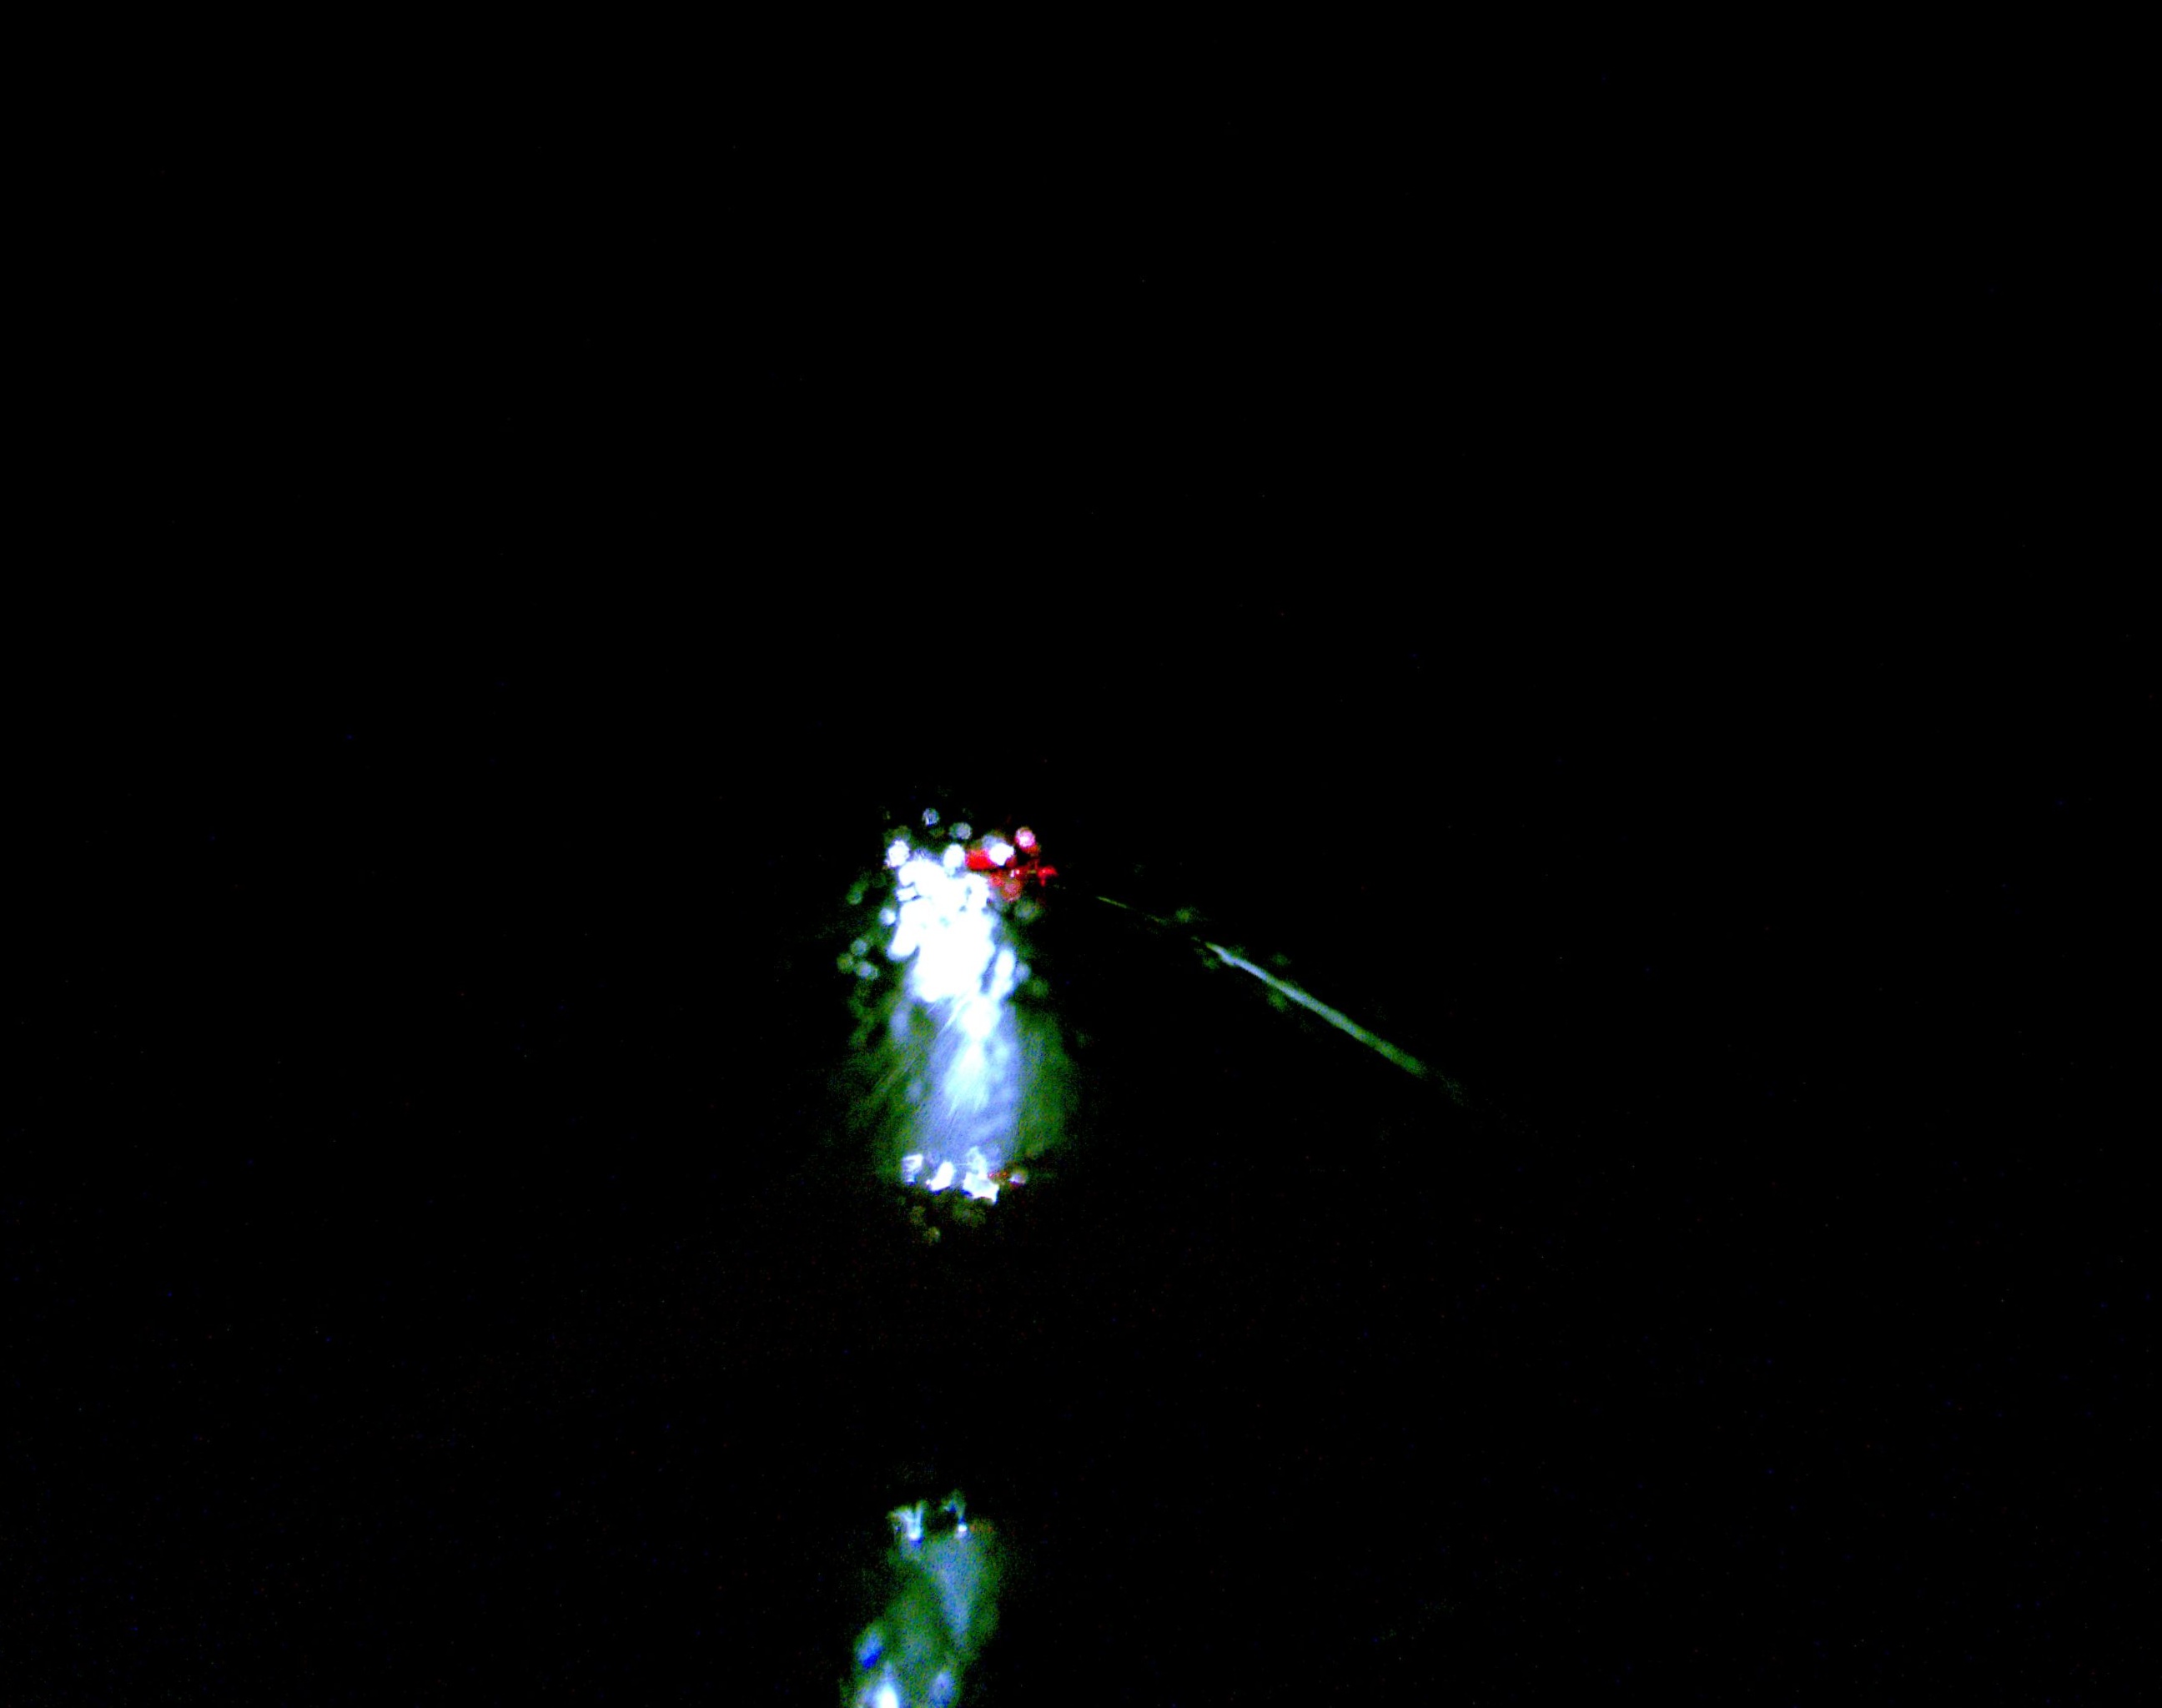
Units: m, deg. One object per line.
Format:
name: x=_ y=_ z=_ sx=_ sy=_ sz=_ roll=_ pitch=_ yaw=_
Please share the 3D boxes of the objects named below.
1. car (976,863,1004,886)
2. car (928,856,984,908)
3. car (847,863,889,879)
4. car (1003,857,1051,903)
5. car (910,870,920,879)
car: x=-8.441 y=1.933 z=75.544 sx=1.996 sy=2.014 sz=3.980 roll=2 pitch=-2 yaw=-14
car: x=-5.185 y=1.146 z=34.273 sx=1.990 sy=2.014 sz=4.836 roll=1 pitch=-1 yaw=-5
car: x=-26.517 y=2.094 z=101.498 sx=4.924 sy=1.734 sz=1.989 roll=-1 pitch=1 yaw=-17
car: x=-3.398 y=1.526 z=50.239 sx=2.537 sy=2.497 sz=5.700 roll=-1 pitch=1 yaw=-7
car: x=-35.960 y=4.503 z=176.147 sx=1.757 sy=1.734 sz=3.979 roll=2 pitch=1 yaw=-16
